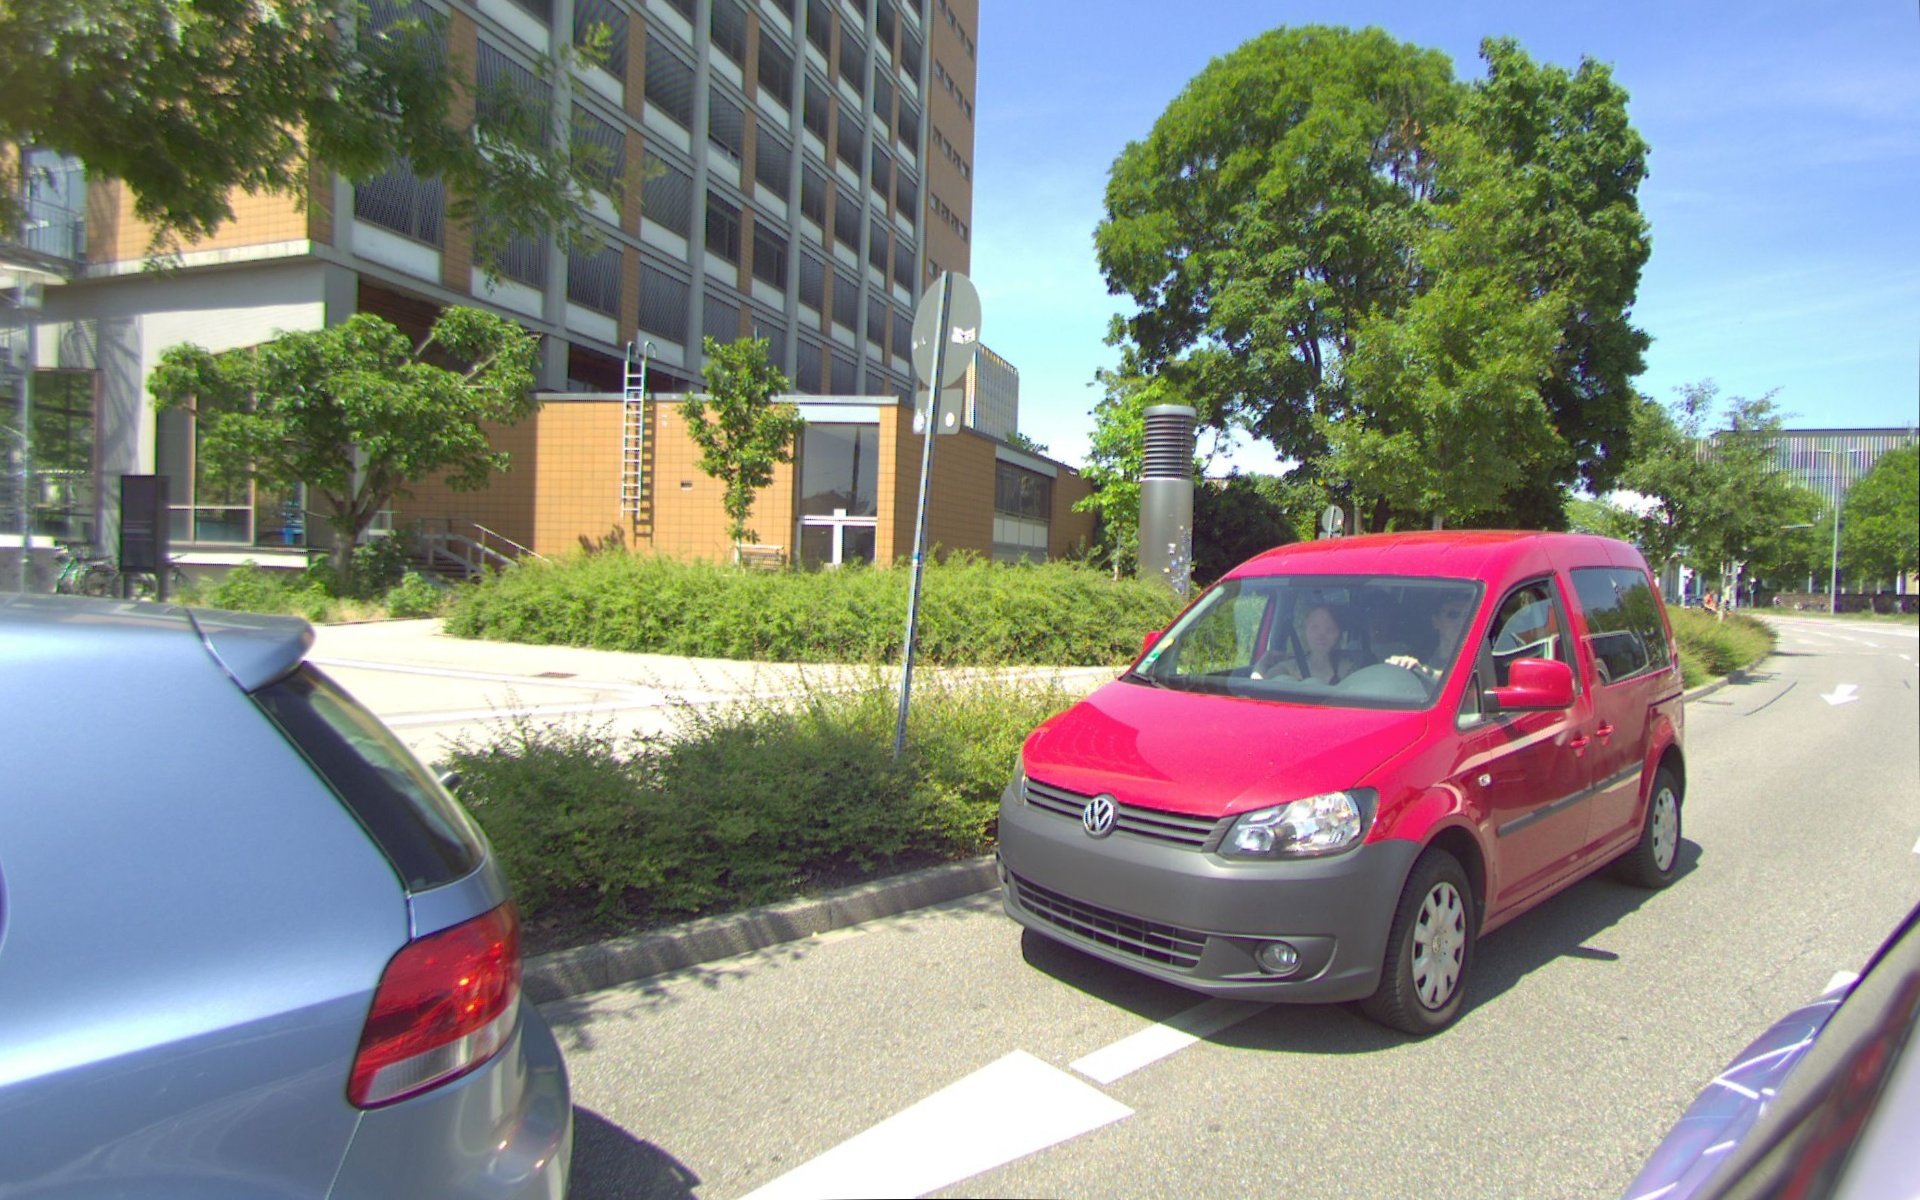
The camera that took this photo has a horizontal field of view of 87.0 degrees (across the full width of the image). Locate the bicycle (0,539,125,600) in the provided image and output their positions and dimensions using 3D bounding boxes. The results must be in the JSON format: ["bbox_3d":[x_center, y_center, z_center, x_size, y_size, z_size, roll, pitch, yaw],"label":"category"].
[{"bbox_3d":[-19.290,-0.632,21.627,0.630,1.233,2.201,0,0,22],"label":"bicycle"}]

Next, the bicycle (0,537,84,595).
[{"bbox_3d":[-20.745,-0.738,22.256,0.630,1.233,2.201,0,0,22],"label":"bicycle"}]

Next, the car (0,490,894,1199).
[{"bbox_3d":[-2.139,0.615,1.128,3.933,1.477,1.654,0,0,-41],"label":"car"}]

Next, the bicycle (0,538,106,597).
[{"bbox_3d":[-19.990,-0.694,21.958,0.630,1.233,2.201,0,0,22],"label":"bicycle"}]

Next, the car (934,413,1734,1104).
[{"bbox_3d":[2.127,0.421,4.857,4.466,1.882,1.654,0,1,-41],"label":"car"}]

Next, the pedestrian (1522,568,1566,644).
[{"bbox_3d":[14.179,0.136,24.572,0.603,1.820,0.728,1,1,-40],"label":"pedestrian"}]
